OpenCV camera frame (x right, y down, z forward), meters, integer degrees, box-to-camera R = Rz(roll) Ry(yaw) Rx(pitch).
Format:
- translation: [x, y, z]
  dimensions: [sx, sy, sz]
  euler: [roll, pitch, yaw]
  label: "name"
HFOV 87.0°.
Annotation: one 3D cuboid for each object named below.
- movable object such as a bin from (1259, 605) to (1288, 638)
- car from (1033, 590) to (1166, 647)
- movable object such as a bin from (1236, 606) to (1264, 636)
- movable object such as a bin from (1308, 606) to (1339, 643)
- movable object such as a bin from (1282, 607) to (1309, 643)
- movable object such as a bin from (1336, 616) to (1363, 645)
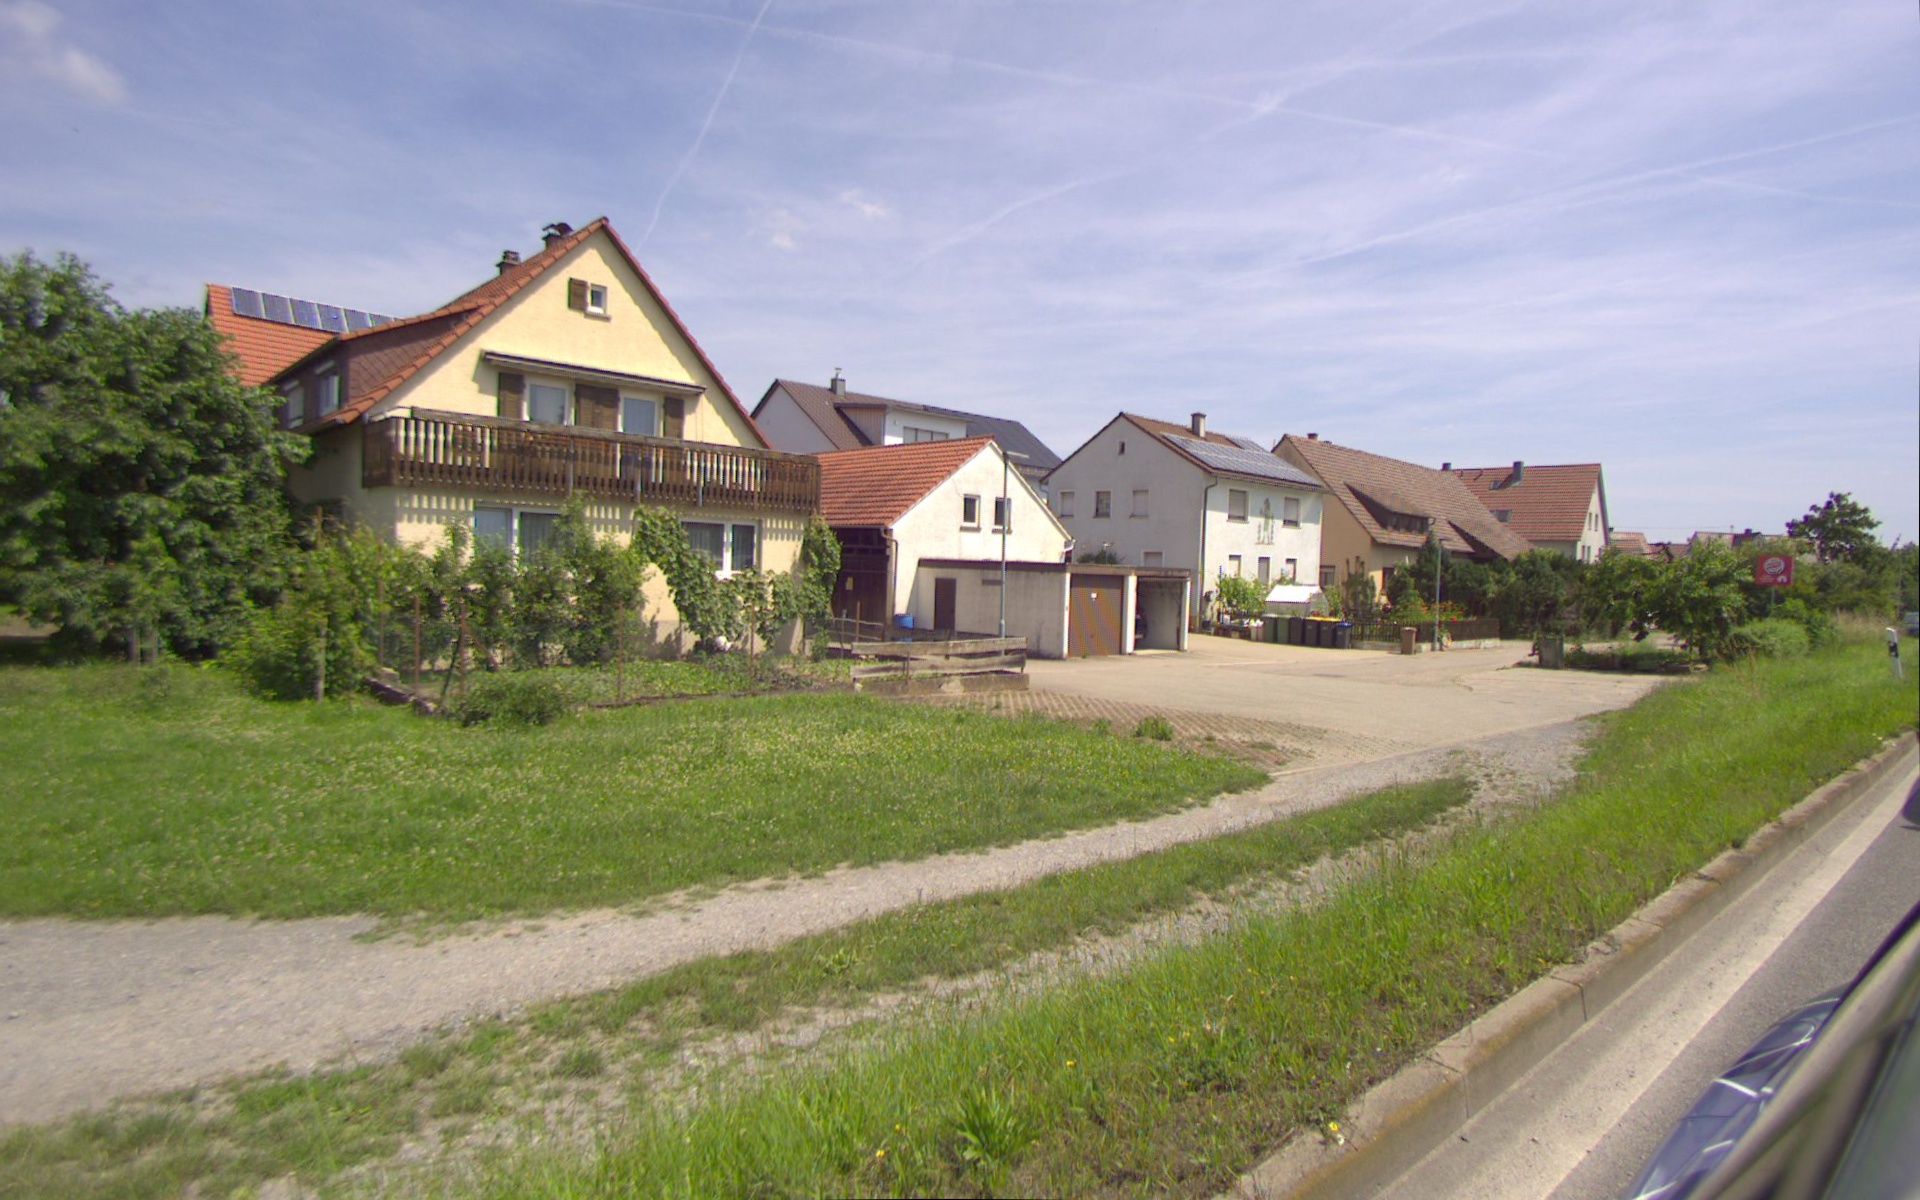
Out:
- translation: [12.386, 0.831, 39.946]
  dimensions: [0.874, 1.262, 0.744]
  euler: [1, 0, -42]
  label: "movable object such as a bin"
- translation: [4.343, 0.548, 31.966]
  dimensions: [1.794, 1.624, 3.995]
  euler: [1, 1, -40]
  label: "car"
- translation: [11.603, 0.823, 40.492]
  dimensions: [0.816, 1.171, 0.739]
  euler: [1, 0, -42]
  label: "movable object such as a bin"
- translation: [13.666, 0.910, 38.064]
  dimensions: [0.930, 1.387, 0.764]
  euler: [1, 0, -42]
  label: "movable object such as a bin"
- translation: [13.011, 0.960, 39.276]
  dimensions: [0.806, 1.355, 0.677]
  euler: [1, -1, -42]
  label: "movable object such as a bin"
- translation: [14.384, 1.111, 37.361]
  dimensions: [0.743, 1.040, 0.645]
  euler: [1, 0, -42]
  label: "movable object such as a bin"
